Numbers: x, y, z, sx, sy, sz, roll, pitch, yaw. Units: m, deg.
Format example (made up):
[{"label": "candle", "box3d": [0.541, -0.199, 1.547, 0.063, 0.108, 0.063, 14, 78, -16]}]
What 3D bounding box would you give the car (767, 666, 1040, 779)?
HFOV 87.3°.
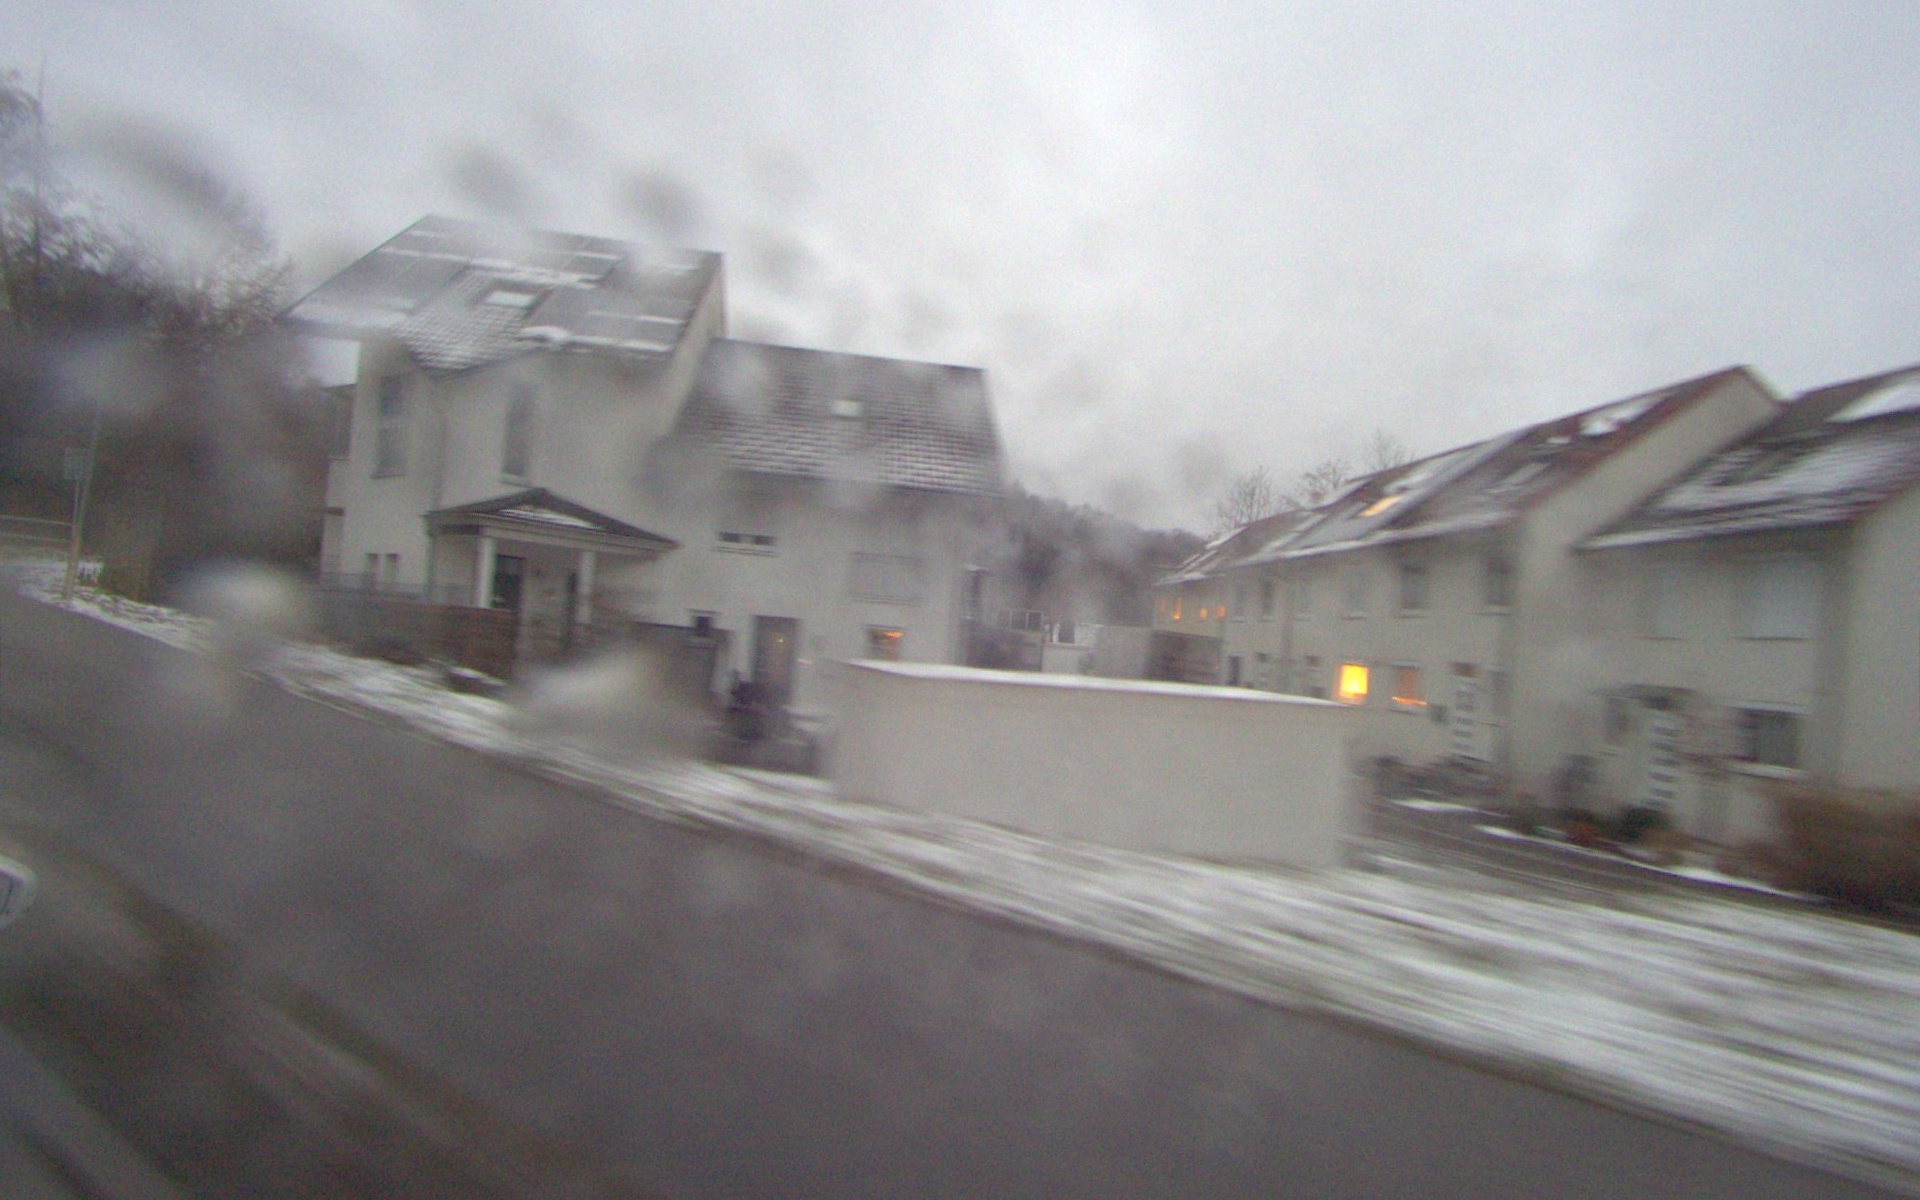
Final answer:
[{"label": "car", "box3d": [-1.100, 2.391, 19.654, 4.843, 1.505, 1.943, 8, -1, -22]}]
